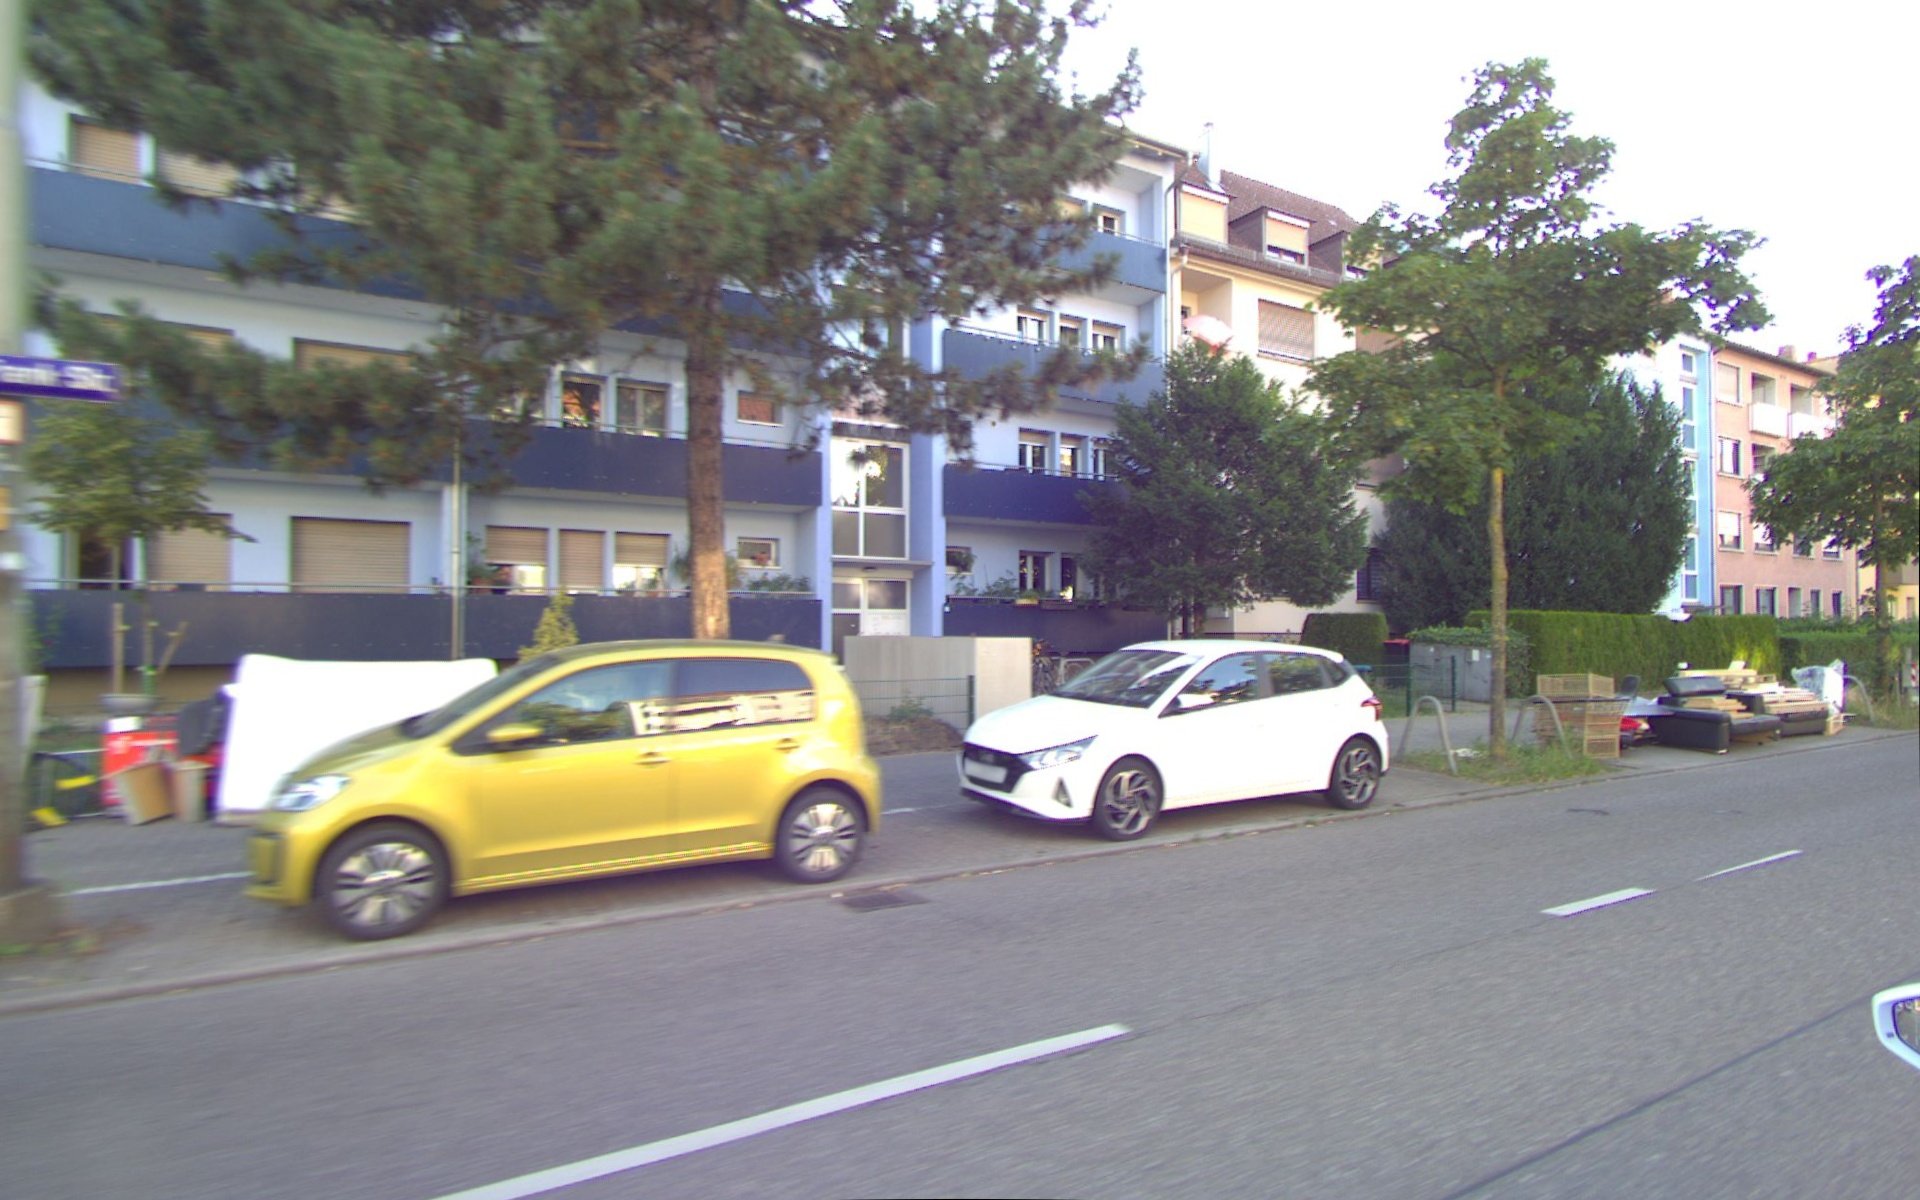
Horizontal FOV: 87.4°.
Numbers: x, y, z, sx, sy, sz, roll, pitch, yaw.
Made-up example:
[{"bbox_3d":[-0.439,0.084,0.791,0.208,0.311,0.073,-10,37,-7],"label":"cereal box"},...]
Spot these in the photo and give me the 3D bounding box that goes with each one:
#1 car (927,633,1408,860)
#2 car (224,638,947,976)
[{"bbox_3d":[1.854,1.088,8.785,3.922,1.514,1.773,1,0,-29],"label":"car"},{"bbox_3d":[-2.140,1.029,6.339,3.823,1.500,1.612,1,0,-29],"label":"car"}]
